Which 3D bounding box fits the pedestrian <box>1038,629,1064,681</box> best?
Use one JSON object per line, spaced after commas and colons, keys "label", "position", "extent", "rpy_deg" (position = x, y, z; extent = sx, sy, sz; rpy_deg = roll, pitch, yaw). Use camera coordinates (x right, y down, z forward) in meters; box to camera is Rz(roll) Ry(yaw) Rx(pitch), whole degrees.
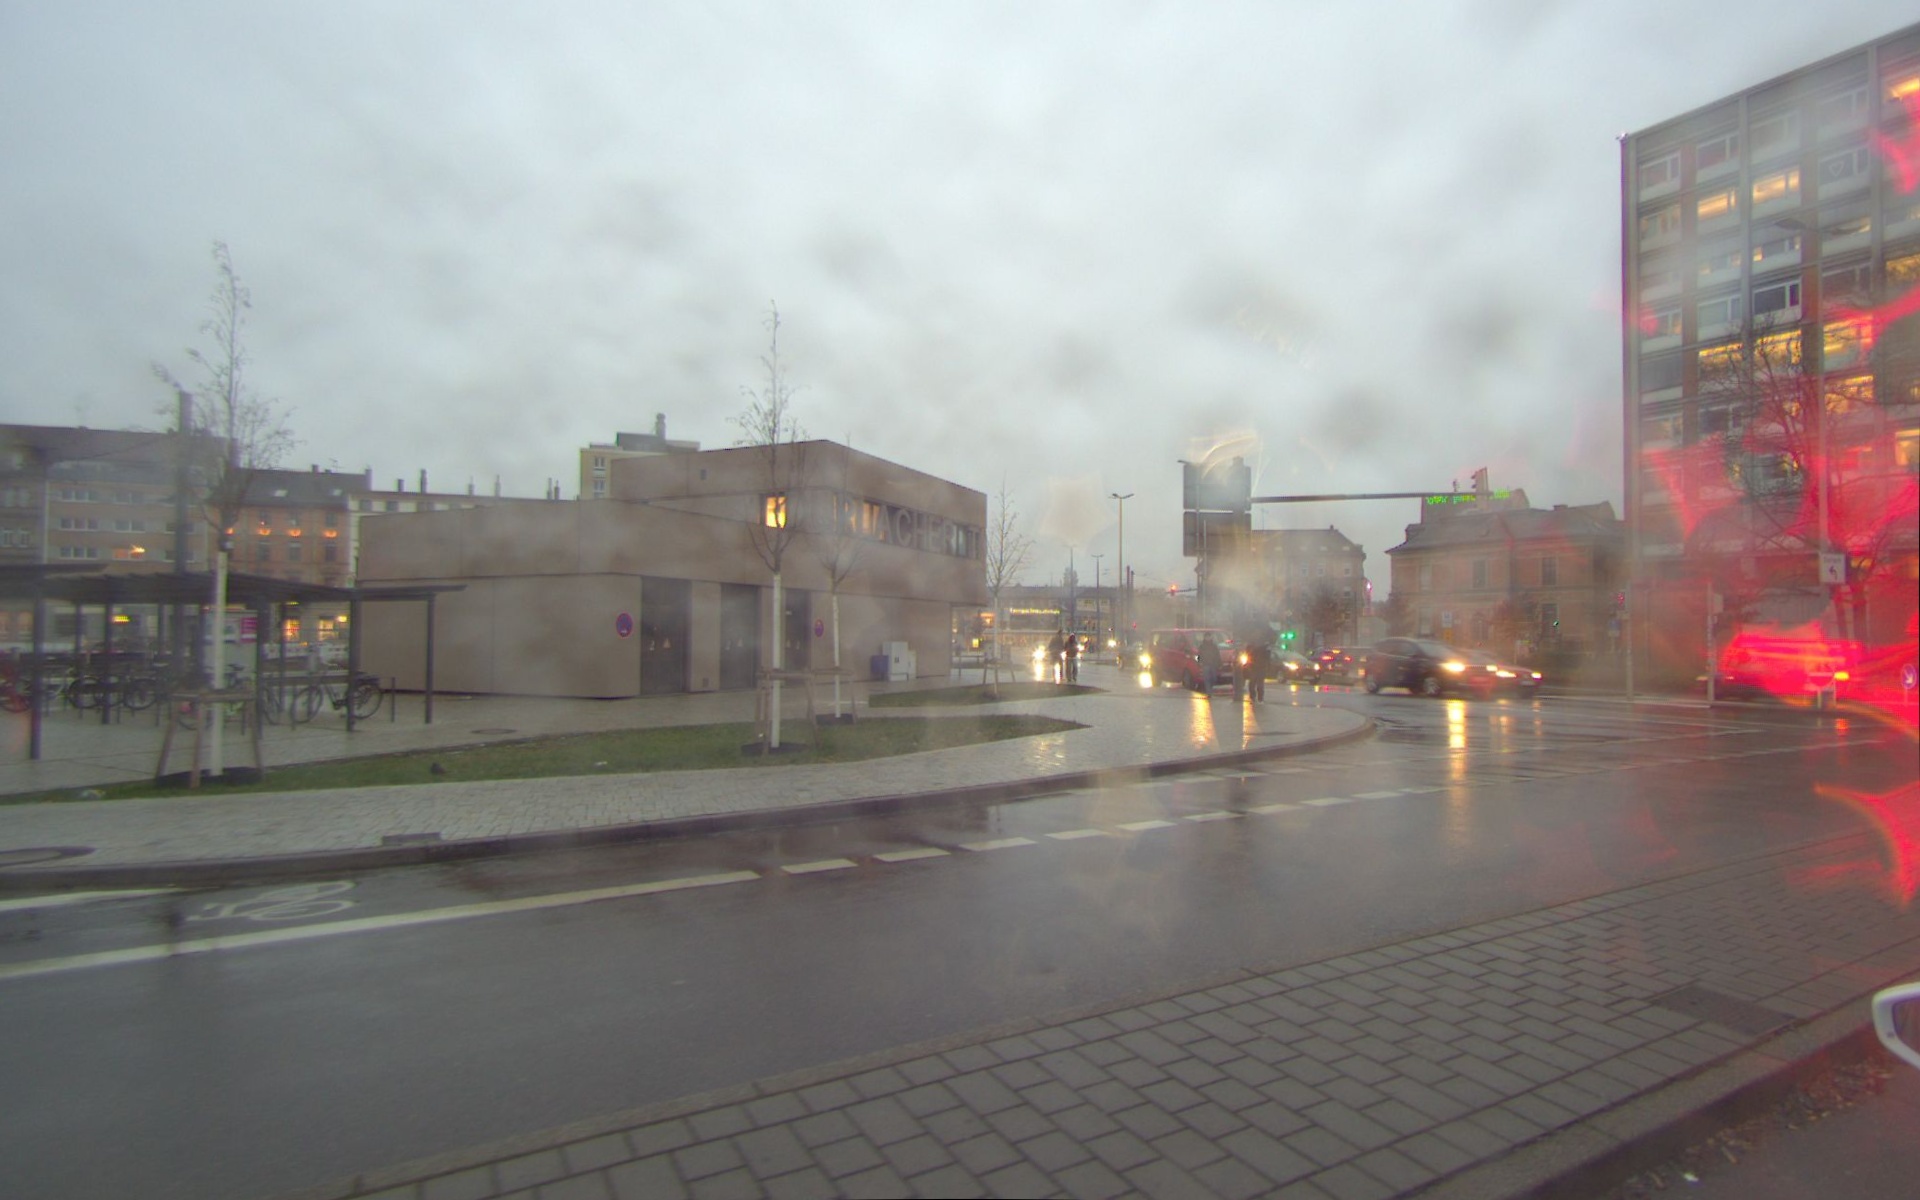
{"label": "pedestrian", "position": [3.314, 2.008, 36.533], "extent": [0.670, 1.839, 0.692], "rpy_deg": [3, -1, -16]}

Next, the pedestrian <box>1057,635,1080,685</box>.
{"label": "pedestrian", "position": [3.958, 2.171, 36.553], "extent": [0.576, 1.795, 0.610], "rpy_deg": [3, -1, -16]}

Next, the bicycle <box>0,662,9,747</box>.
{"label": "bicycle", "position": [-14.213, 1.442, 13.543], "extent": [0.541, 1.180, 1.895], "rpy_deg": [2, -2, 30]}

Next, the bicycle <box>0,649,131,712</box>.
{"label": "bicycle", "position": [-18.097, 1.598, 20.343], "extent": [0.541, 1.180, 1.895], "rpy_deg": [2, -2, 30]}

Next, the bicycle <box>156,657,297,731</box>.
{"label": "bicycle", "position": [-12.772, 1.612, 17.557], "extent": [0.541, 1.180, 1.895], "rpy_deg": [2, -2, 30]}

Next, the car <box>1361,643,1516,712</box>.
{"label": "car", "position": [13.814, 2.202, 29.276], "extent": [1.732, 1.706, 4.063], "rpy_deg": [3, -1, -18]}

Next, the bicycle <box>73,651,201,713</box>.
{"label": "bicycle", "position": [-16.673, 1.635, 20.404], "extent": [0.541, 1.180, 1.895], "rpy_deg": [2, -2, 30]}

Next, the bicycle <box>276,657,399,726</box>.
{"label": "bicycle", "position": [-11.638, 1.682, 18.840], "extent": [0.540, 1.180, 1.896], "rpy_deg": [2, -2, 29]}

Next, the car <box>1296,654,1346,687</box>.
{"label": "car", "position": [20.391, 3.948, 56.848], "extent": [1.536, 1.626, 3.413], "rpy_deg": [3, -1, 0]}

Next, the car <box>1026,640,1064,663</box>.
{"label": "car", "position": [6.320, 3.812, 74.781], "extent": [1.578, 1.468, 3.637], "rpy_deg": [3, -1, -16]}

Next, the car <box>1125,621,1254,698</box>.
{"label": "car", "position": [7.642, 1.931, 34.071], "extent": [2.220, 2.311, 5.025], "rpy_deg": [3, -1, -13]}

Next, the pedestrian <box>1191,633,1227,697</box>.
{"label": "pedestrian", "position": [6.883, 1.798, 27.757], "extent": [0.781, 1.719, 0.461], "rpy_deg": [3, -1, -7]}

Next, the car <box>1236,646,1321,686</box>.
{"label": "car", "position": [13.588, 2.797, 43.060], "extent": [1.578, 1.468, 3.827], "rpy_deg": [3, -1, -16]}

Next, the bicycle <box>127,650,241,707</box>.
{"label": "bicycle", "position": [-17.084, 1.712, 22.166], "extent": [0.541, 1.180, 1.895], "rpy_deg": [2, -2, 30]}

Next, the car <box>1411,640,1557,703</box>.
{"label": "car", "position": [16.456, 2.194, 31.759], "extent": [1.731, 1.706, 4.069], "rpy_deg": [3, -1, -16]}

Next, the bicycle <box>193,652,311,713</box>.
{"label": "bicycle", "position": [-14.564, 1.668, 20.715], "extent": [0.541, 1.180, 1.895], "rpy_deg": [2, -2, 30]}

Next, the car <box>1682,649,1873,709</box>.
{"label": "car", "position": [26.086, 2.477, 32.273], "extent": [1.936, 1.601, 4.433], "rpy_deg": [3, -1, -16]}

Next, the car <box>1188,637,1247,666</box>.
{"label": "car", "position": [18.891, 3.757, 73.954], "extent": [1.966, 1.938, 5.157], "rpy_deg": [1, -1, -14]}
